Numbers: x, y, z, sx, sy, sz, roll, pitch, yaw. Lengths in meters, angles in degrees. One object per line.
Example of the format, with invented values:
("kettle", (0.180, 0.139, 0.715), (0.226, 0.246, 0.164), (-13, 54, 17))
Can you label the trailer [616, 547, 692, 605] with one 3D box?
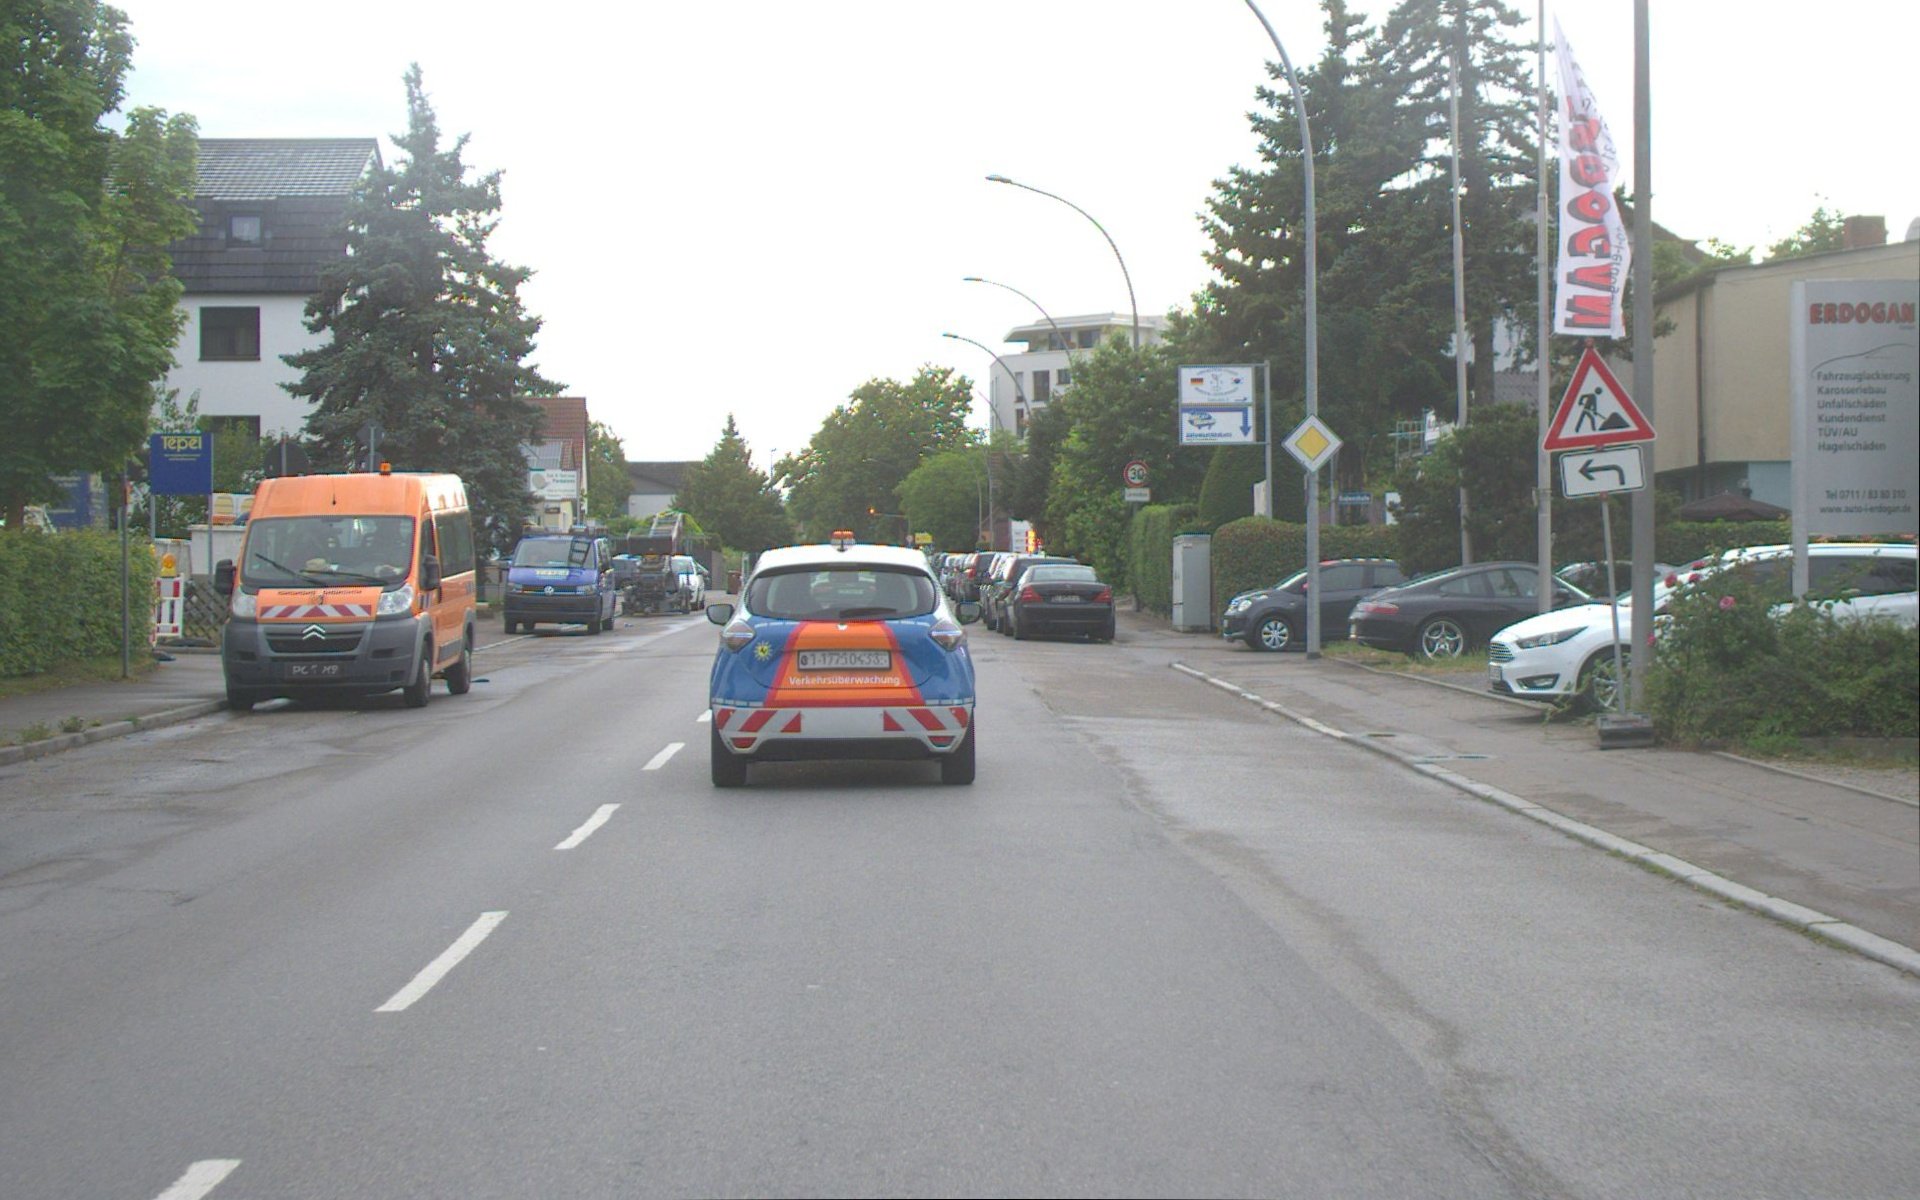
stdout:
("trailer", (-7.703, -0.629, 86.768), (1.717, 1.256, 5.245), (1, 2, -3))

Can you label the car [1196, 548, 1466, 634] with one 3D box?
("car", (5.851, -0.142, 54.577), (3.986, 1.262, 1.951), (1, 0, -3))

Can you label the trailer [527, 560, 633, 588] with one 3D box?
("trailer", (-14.838, -1.015, 134.351), (4.022, 0.991, 1.655), (1, 0, -2))

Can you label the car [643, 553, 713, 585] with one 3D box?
("car", (-13.443, -1.469, 163.702), (3.281, 1.443, 1.480), (-1, 1, -5))

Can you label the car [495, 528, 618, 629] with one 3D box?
("car", (-8.027, -0.429, 68.844), (1.993, 1.940, 5.366), (0, 0, -2))

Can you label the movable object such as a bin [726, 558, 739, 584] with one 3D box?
("movable object such as a bin", (-10.445, -1.337, 157.778), (0.579, 1.200, 0.318), (1, 0, -1))

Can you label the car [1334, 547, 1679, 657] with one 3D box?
("car", (6.776, 0.022, 42.912), (3.987, 1.262, 1.951), (1, 0, 1))

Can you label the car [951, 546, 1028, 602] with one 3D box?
("car", (0.754, -0.703, 91.932), (1.711, 1.433, 4.527), (1, 0, -4))

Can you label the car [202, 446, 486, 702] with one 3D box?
("car", (-6.609, -0.318, 37.591), (2.124, 2.529, 6.022), (-1, 1, -2))

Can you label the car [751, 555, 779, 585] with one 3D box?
("car", (-9.797, -1.508, 172.782), (1.386, 1.478, 3.784), (0, 1, -3))

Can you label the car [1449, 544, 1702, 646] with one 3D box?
("car", (9.786, -0.087, 54.841), (3.614, 1.533, 1.860), (1, 0, -3))

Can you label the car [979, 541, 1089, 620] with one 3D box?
("car", (1.356, -0.372, 64.704), (1.656, 1.414, 4.778), (1, 0, -4))

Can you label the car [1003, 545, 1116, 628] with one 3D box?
("car", (1.698, -0.258, 59.700), (1.589, 1.336, 4.093), (2, 1, -3))

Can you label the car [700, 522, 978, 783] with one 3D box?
("car", (-0.817, 0.314, 23.238), (1.731, 1.625, 3.495), (0, 0, -2))

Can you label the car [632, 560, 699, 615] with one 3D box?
("car", (-8.040, -0.345, 94.054), (1.557, 1.428, 4.000), (1, 0, -1))

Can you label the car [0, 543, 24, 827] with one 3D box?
("car", (-6.174, 0.513, 17.378), (1.805, 1.568, 4.343), (-1, 1, -2))

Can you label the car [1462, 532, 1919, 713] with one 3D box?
("car", (6.671, 0.185, 29.665), (4.337, 1.470, 1.903), (1, 0, -2))

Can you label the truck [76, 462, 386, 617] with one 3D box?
("truck", (-15.196, -1.259, 71.894), (5.911, 3.063, 2.450), (1, 0, 0))
